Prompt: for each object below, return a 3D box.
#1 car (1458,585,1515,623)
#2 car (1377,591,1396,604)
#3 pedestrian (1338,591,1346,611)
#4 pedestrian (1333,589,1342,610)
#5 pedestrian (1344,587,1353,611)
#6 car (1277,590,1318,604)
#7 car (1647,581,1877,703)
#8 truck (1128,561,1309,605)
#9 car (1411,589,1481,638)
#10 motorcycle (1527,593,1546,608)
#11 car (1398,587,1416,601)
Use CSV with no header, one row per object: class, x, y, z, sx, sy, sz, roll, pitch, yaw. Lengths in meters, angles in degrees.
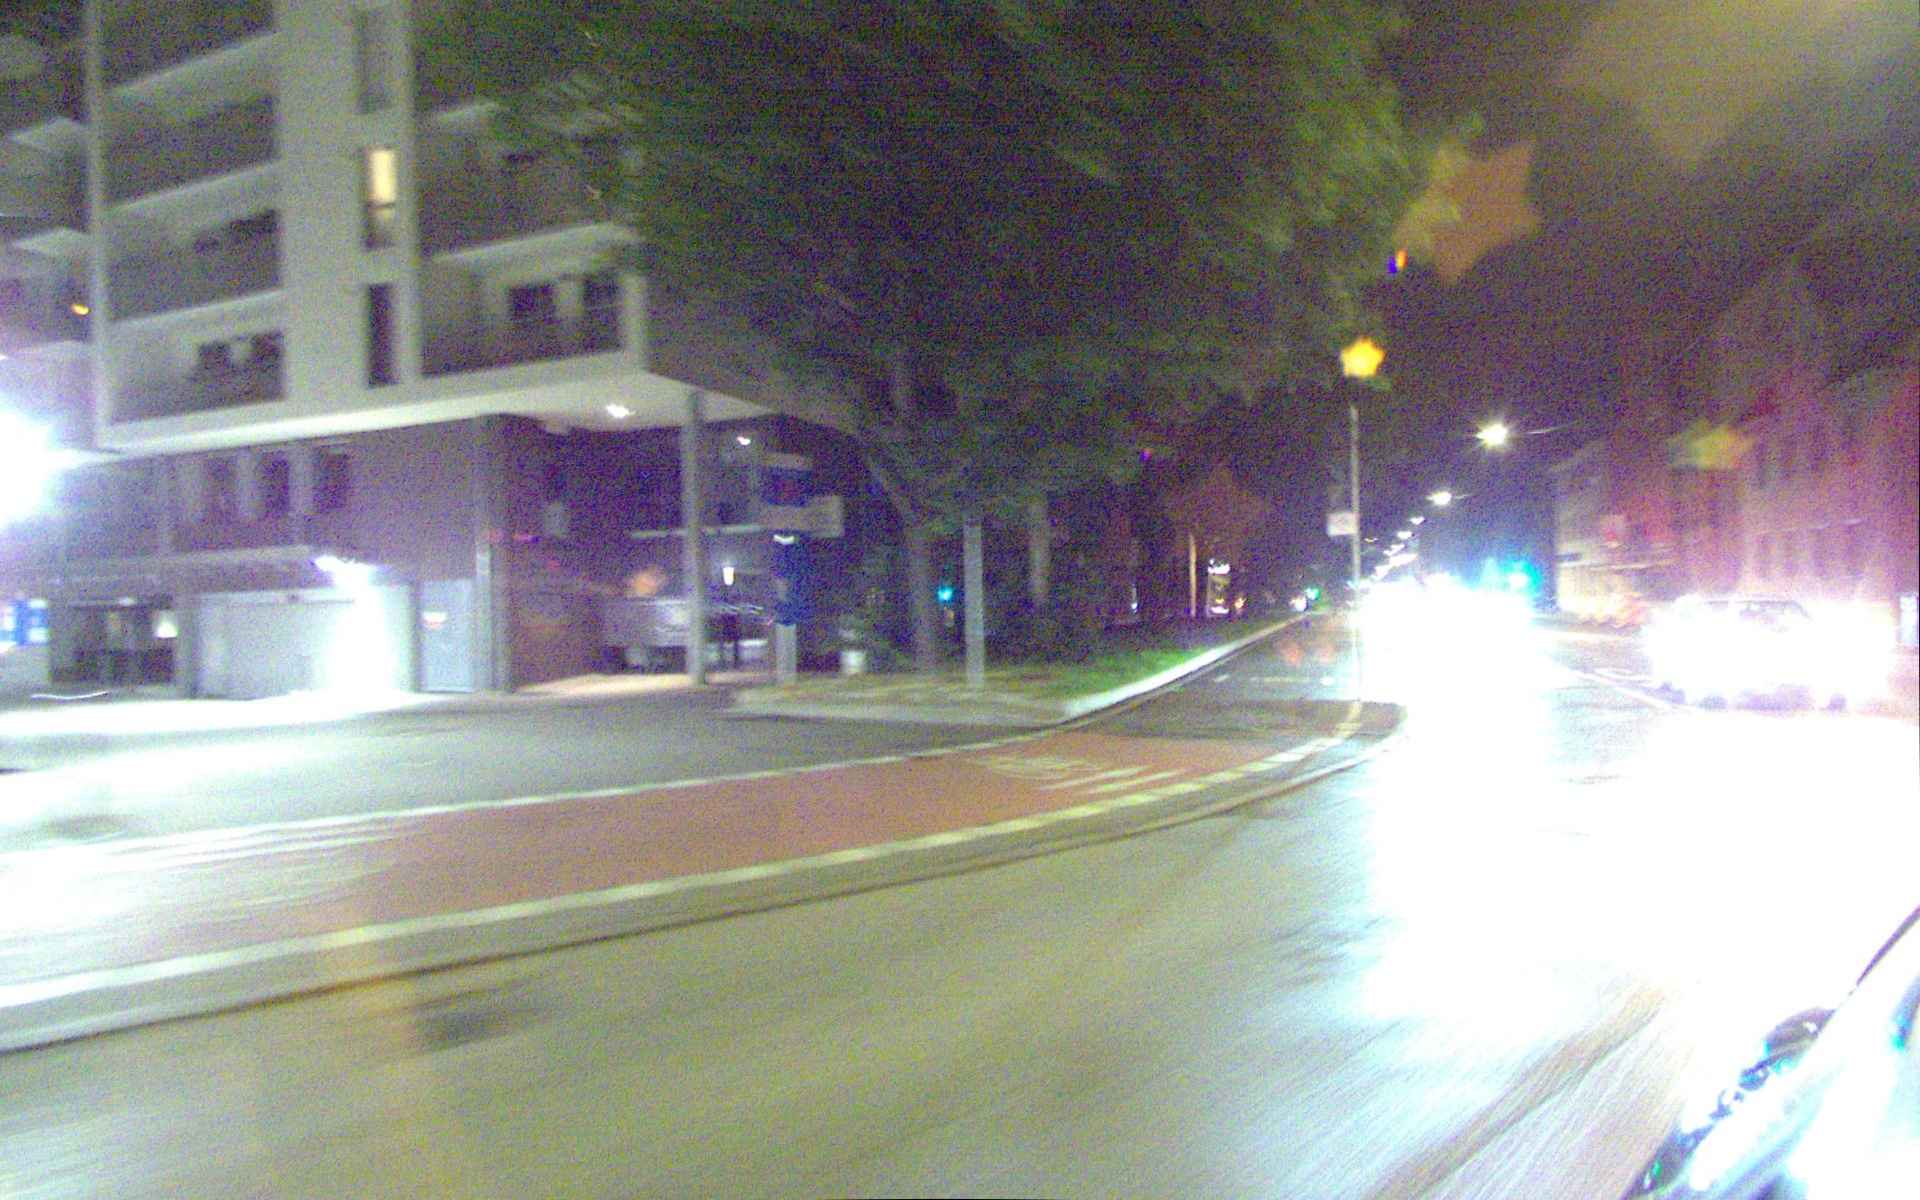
car,22.419,0.138,43.235,1.709,1.481,3.973,0,1,21
car,42.774,-0.251,101.414,1.603,1.282,3.596,-2,0,25
pedestrian,30.493,0.059,80.747,0.567,1.553,0.629,-1,0,23
pedestrian,29.675,-0.017,79.495,0.616,1.659,0.674,-1,0,23
pedestrian,30.562,-0.077,79.659,0.616,1.834,0.753,-1,0,22
car,36.178,-0.322,108.444,4.046,1.472,1.774,0,1,22
car,10.967,0.498,14.138,1.618,1.456,3.807,-2,0,25
truck,24.728,-1.562,97.415,16.638,4.034,3.109,0,1,23
car,15.769,0.399,32.989,1.710,1.448,4.465,-2,0,22
motorcycle,47.551,0.032,83.533,0.563,1.194,2.029,0,0,5
car,55.814,-0.724,126.426,1.979,1.656,3.966,0,0,25
